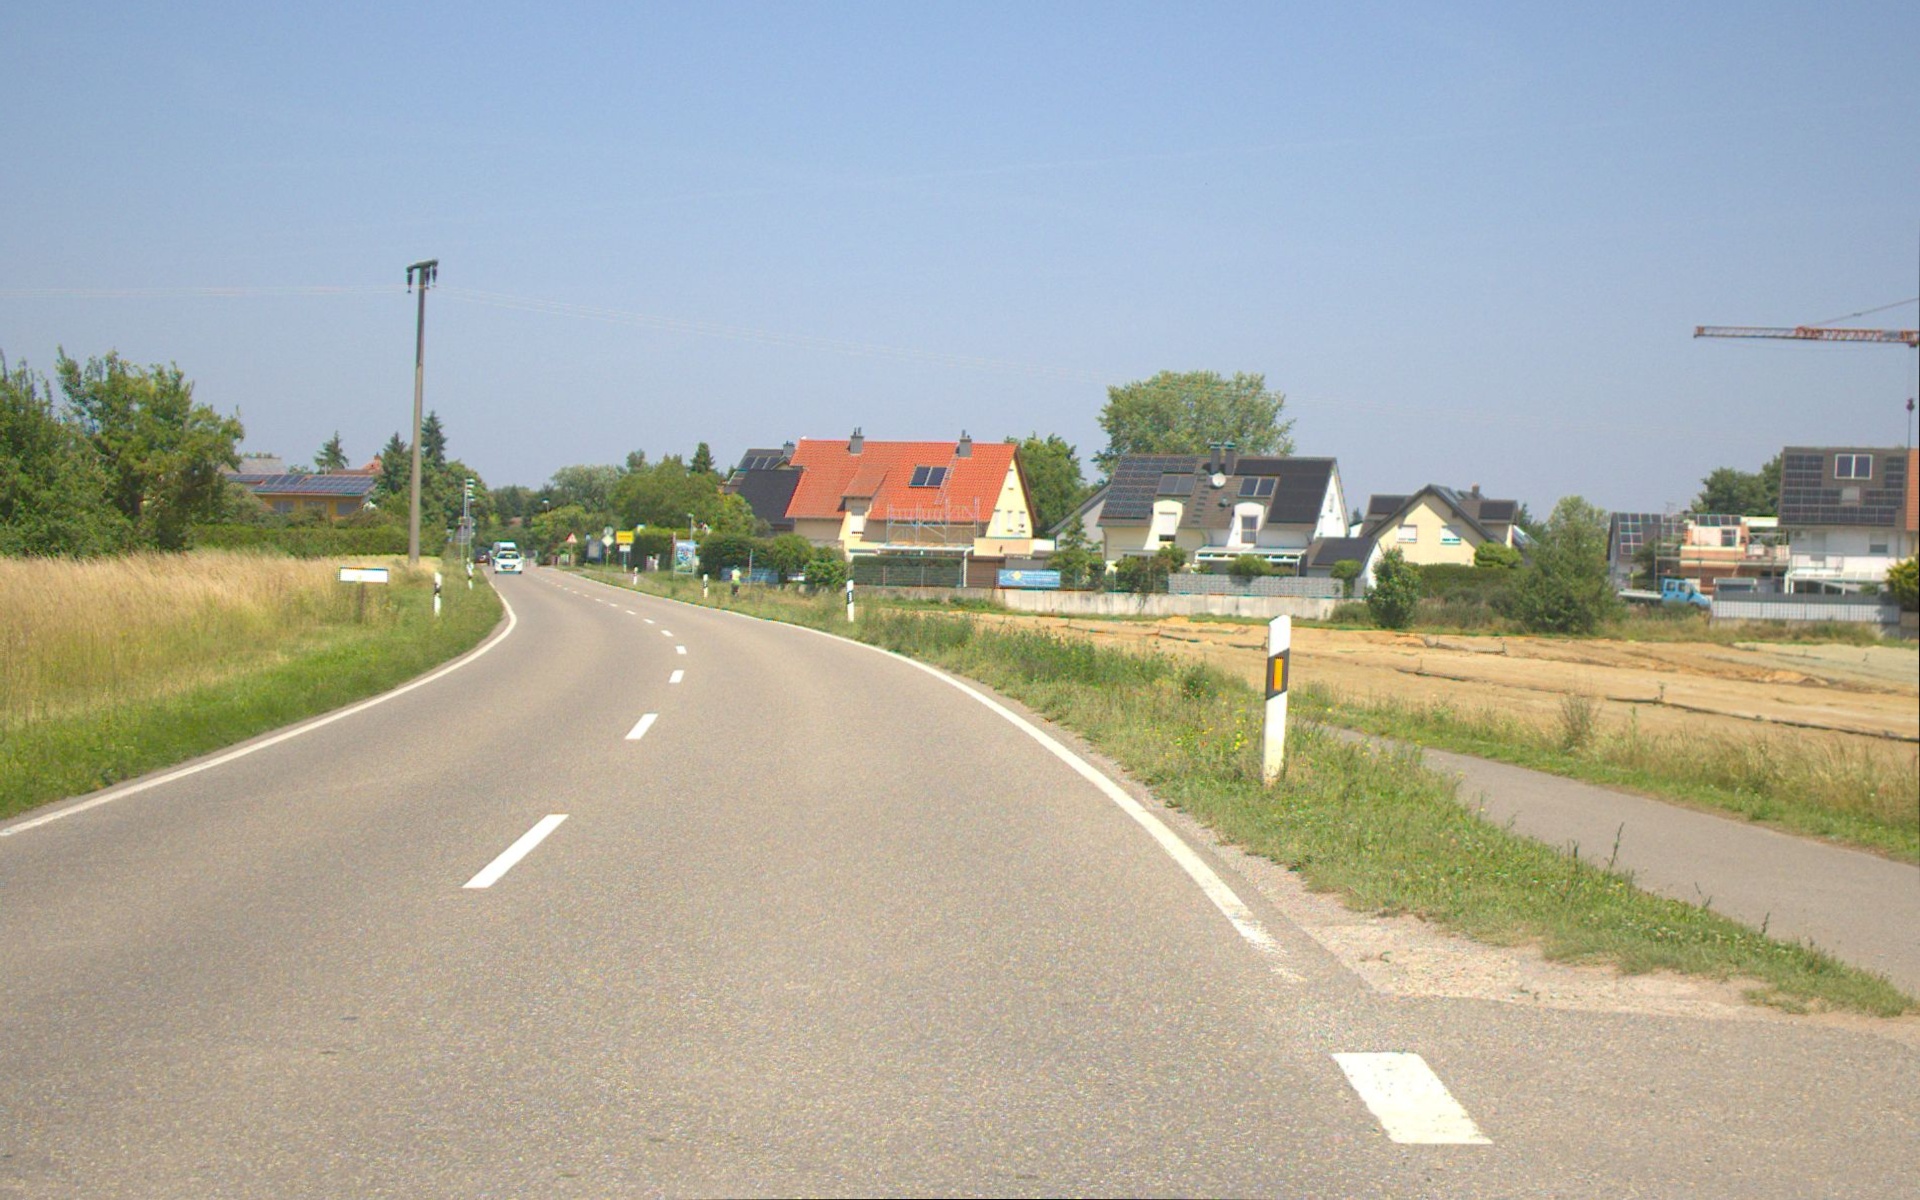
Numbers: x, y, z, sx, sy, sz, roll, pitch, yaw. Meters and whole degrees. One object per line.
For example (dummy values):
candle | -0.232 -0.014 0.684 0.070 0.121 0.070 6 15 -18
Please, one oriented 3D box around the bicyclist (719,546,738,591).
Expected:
bicyclist | -9.854 -1.337 146.493 0.644 1.883 0.861 3 1 -9

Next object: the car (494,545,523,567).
car | -29.710 -2.908 226.045 1.791 1.404 4.187 1 1 -8

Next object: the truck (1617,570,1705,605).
truck | 47.176 -0.861 231.306 5.558 2.222 2.213 1 0 17

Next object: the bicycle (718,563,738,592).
bicycle | -9.894 -0.956 146.575 0.610 1.155 2.275 3 1 -9
